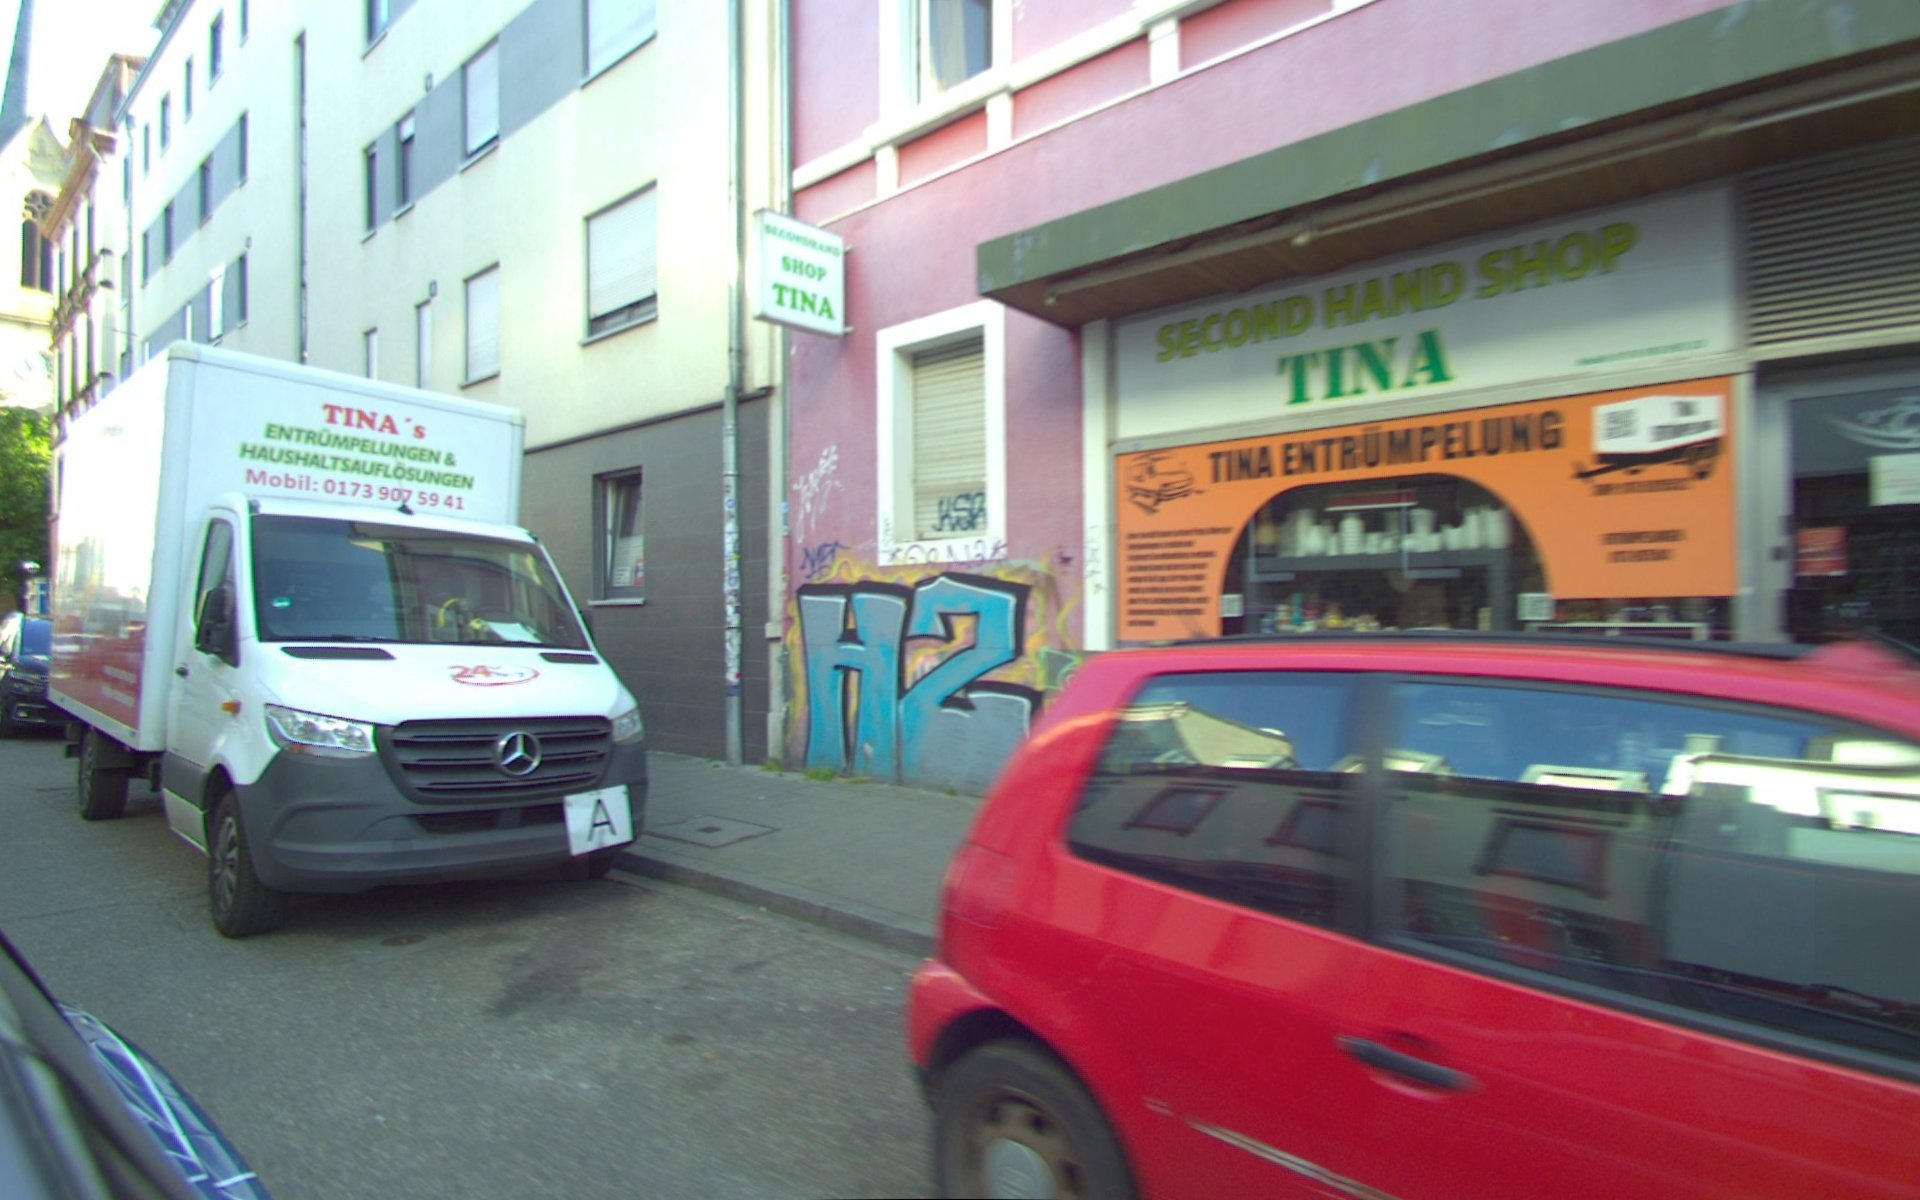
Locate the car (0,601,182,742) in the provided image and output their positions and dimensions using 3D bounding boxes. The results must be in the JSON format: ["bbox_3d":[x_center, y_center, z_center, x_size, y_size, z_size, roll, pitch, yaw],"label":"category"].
[{"bbox_3d":[-12.355,0.958,13.953,4.243,1.663,1.699,-2,-5,41],"label":"car"}]

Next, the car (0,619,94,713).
[{"bbox_3d":[-16.784,1.140,17.755,4.496,1.490,1.699,-2,-5,41],"label":"car"}]

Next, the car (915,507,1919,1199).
[{"bbox_3d":[1.759,0.665,1.666,3.563,1.495,1.562,-1,-3,41],"label":"car"}]

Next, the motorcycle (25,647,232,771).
[{"bbox_3d":[-9.323,1.172,11.487,0.779,1.262,2.110,1,-3,-8],"label":"motorcycle"}]

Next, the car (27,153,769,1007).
[{"bbox_3d":[-4.529,-0.020,7.192,7.152,3.316,2.318,-1,-3,42],"label":"car"}]

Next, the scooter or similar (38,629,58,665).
[{"bbox_3d":[-32.293,1.668,35.828,1.391,1.225,0.344,-1,0,41],"label":"scooter or similar"}]
